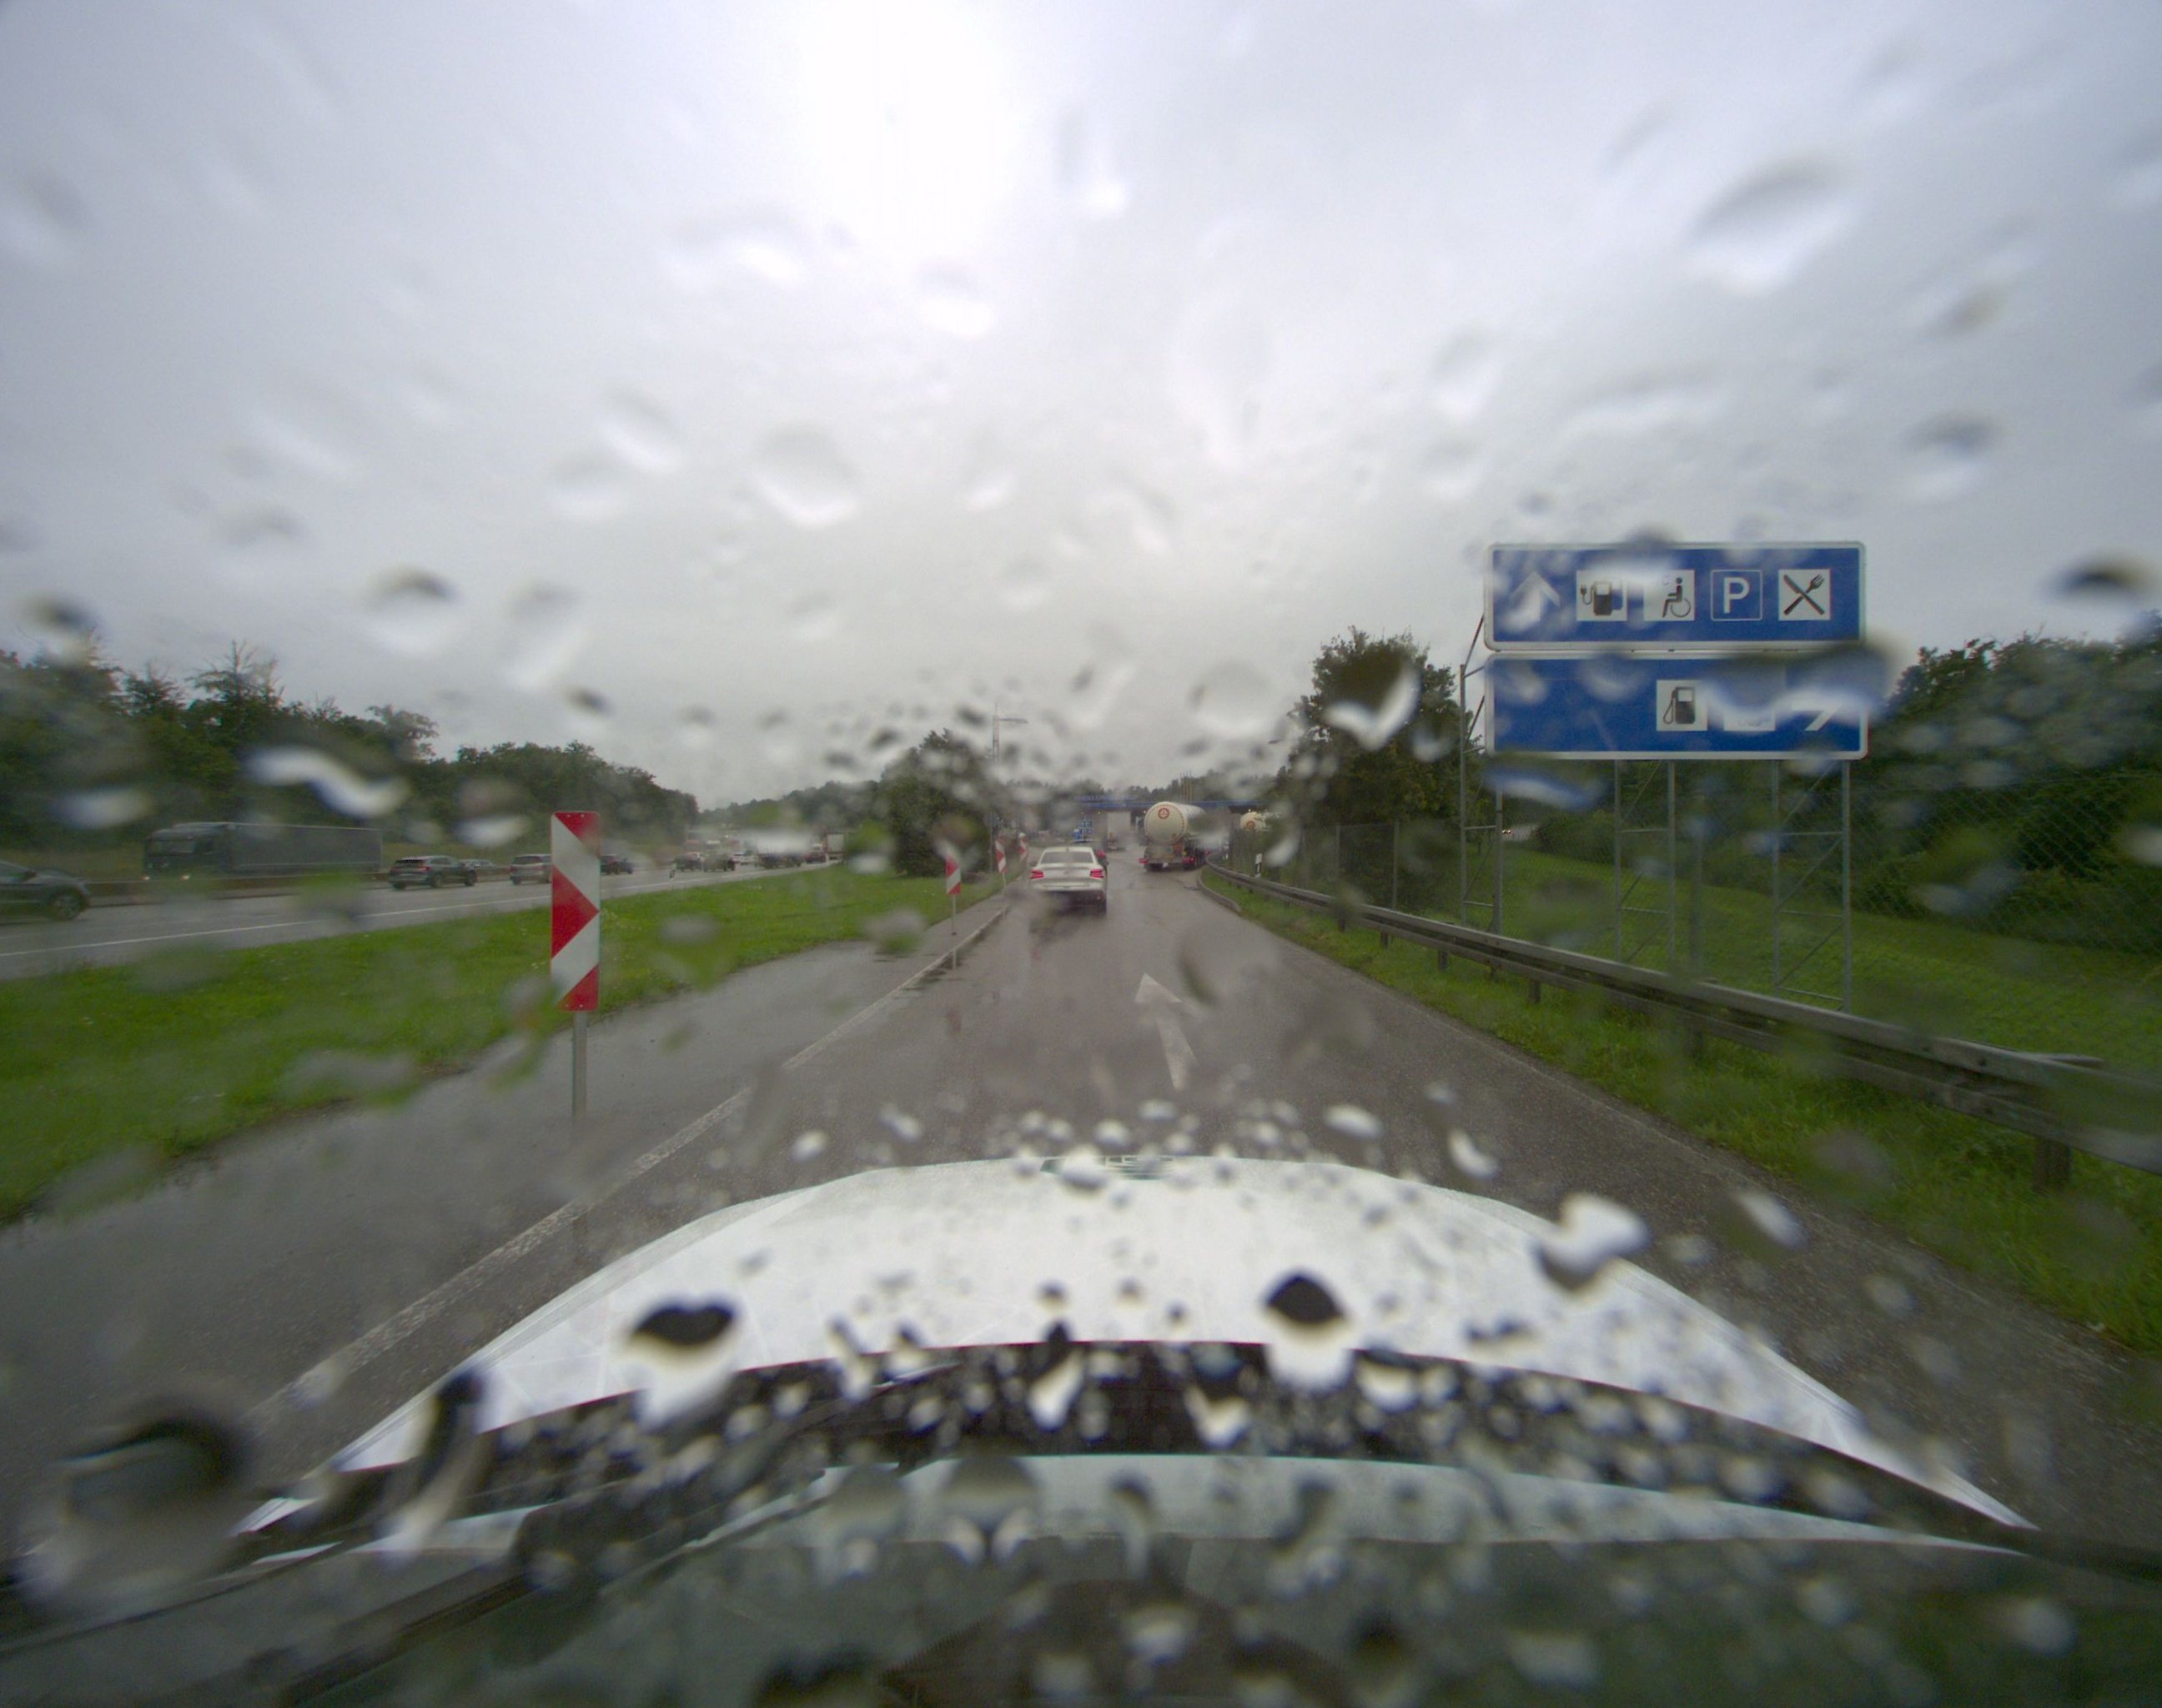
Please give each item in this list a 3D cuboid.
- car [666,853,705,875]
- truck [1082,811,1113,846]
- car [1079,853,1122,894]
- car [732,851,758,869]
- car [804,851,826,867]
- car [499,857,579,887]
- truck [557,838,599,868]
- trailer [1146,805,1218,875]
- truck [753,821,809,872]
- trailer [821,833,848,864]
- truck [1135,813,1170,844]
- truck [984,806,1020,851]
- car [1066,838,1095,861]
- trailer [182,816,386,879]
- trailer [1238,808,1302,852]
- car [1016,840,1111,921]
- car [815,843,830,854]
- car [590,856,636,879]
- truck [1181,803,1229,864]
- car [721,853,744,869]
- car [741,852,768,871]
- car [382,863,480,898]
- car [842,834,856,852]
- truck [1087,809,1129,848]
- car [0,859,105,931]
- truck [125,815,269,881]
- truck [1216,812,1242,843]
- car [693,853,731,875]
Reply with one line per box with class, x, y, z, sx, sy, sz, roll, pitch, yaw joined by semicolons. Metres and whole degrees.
car;-34.068;0.851;70.253;1.775;1.736;4.087;-3;0;-9
truck;1.821;-2.981;95.012;2.370;3.873;6.992;-2;2;-9
car;0.881;0.819;35.549;1.736;1.667;4.002;2;0;2
car;-40.549;0.734;98.345;1.994;2.014;3.986;2;0;-10
car;-31.801;0.613;97.584;1.994;1.816;3.986;0;0;-11
car;-29.429;0.935;44.389;1.786;1.526;4.325;-1;0;-7
truck;-63.762;-0.178;103.340;2.714;3.533;4.747;3;1;-10
trailer;5.536;-0.780;42.854;1.965;3.224;10.368;0;1;17
truck;-27.791;-0.599;76.020;2.850;4.292;11.800;-2;0;-10
trailer;-39.311;-0.758;130.157;3.555;4.612;12.057;-2;0;-15
truck;9.821;-3.517;112.426;3.230;4.187;8.426;0;2;-6
truck;-7.197;-2.296;73.669;2.914;3.904;6.299;-1;1;-8
car;-0.053;-0.309;54.820;1.873;1.461;3.998;0;1;-2
trailer;-54.214;-0.444;56.254;3.028;3.811;13.361;1;0;-10
trailer;15.973;-2.013;68.305;2.111;3.440;10.319;0;2;31
car;-0.336;0.560;19.456;1.987;1.679;4.000;-2;0;1
car;-46.983;-0.981;148.204;1.992;1.816;3.989;1;0;-8
car;-37.129;1.021;64.729;1.776;1.736;4.086;-2;0;-10
truck;7.597;-1.242;49.502;2.036;3.530;4.769;0;1;18
car;-47.340;0.909;110.563;1.994;2.013;3.986;-1;0;-11
car;-34.605;0.751;86.424;1.789;1.971;4.318;0;0;-11
car;-32.290;1.285;40.635;1.717;1.574;4.449;-2;0;-7
car;-45.628;-2.087;160.125;2.376;3.485;4.790;2;-1;-15
truck;2.780;-2.790;88.618;2.370;3.873;12.419;-2;2;-9
car;-24.625;0.931;17.787;1.717;1.574;4.323;-2;0;-8
truck;-52.863;-0.359;48.943;3.042;3.747;5.625;1;0;-11
truck;19.193;-3.458;105.659;2.421;3.805;3.995;-2;2;-4
car;-29.764;0.778;65.777;1.776;1.736;3.834;-1;0;-10
